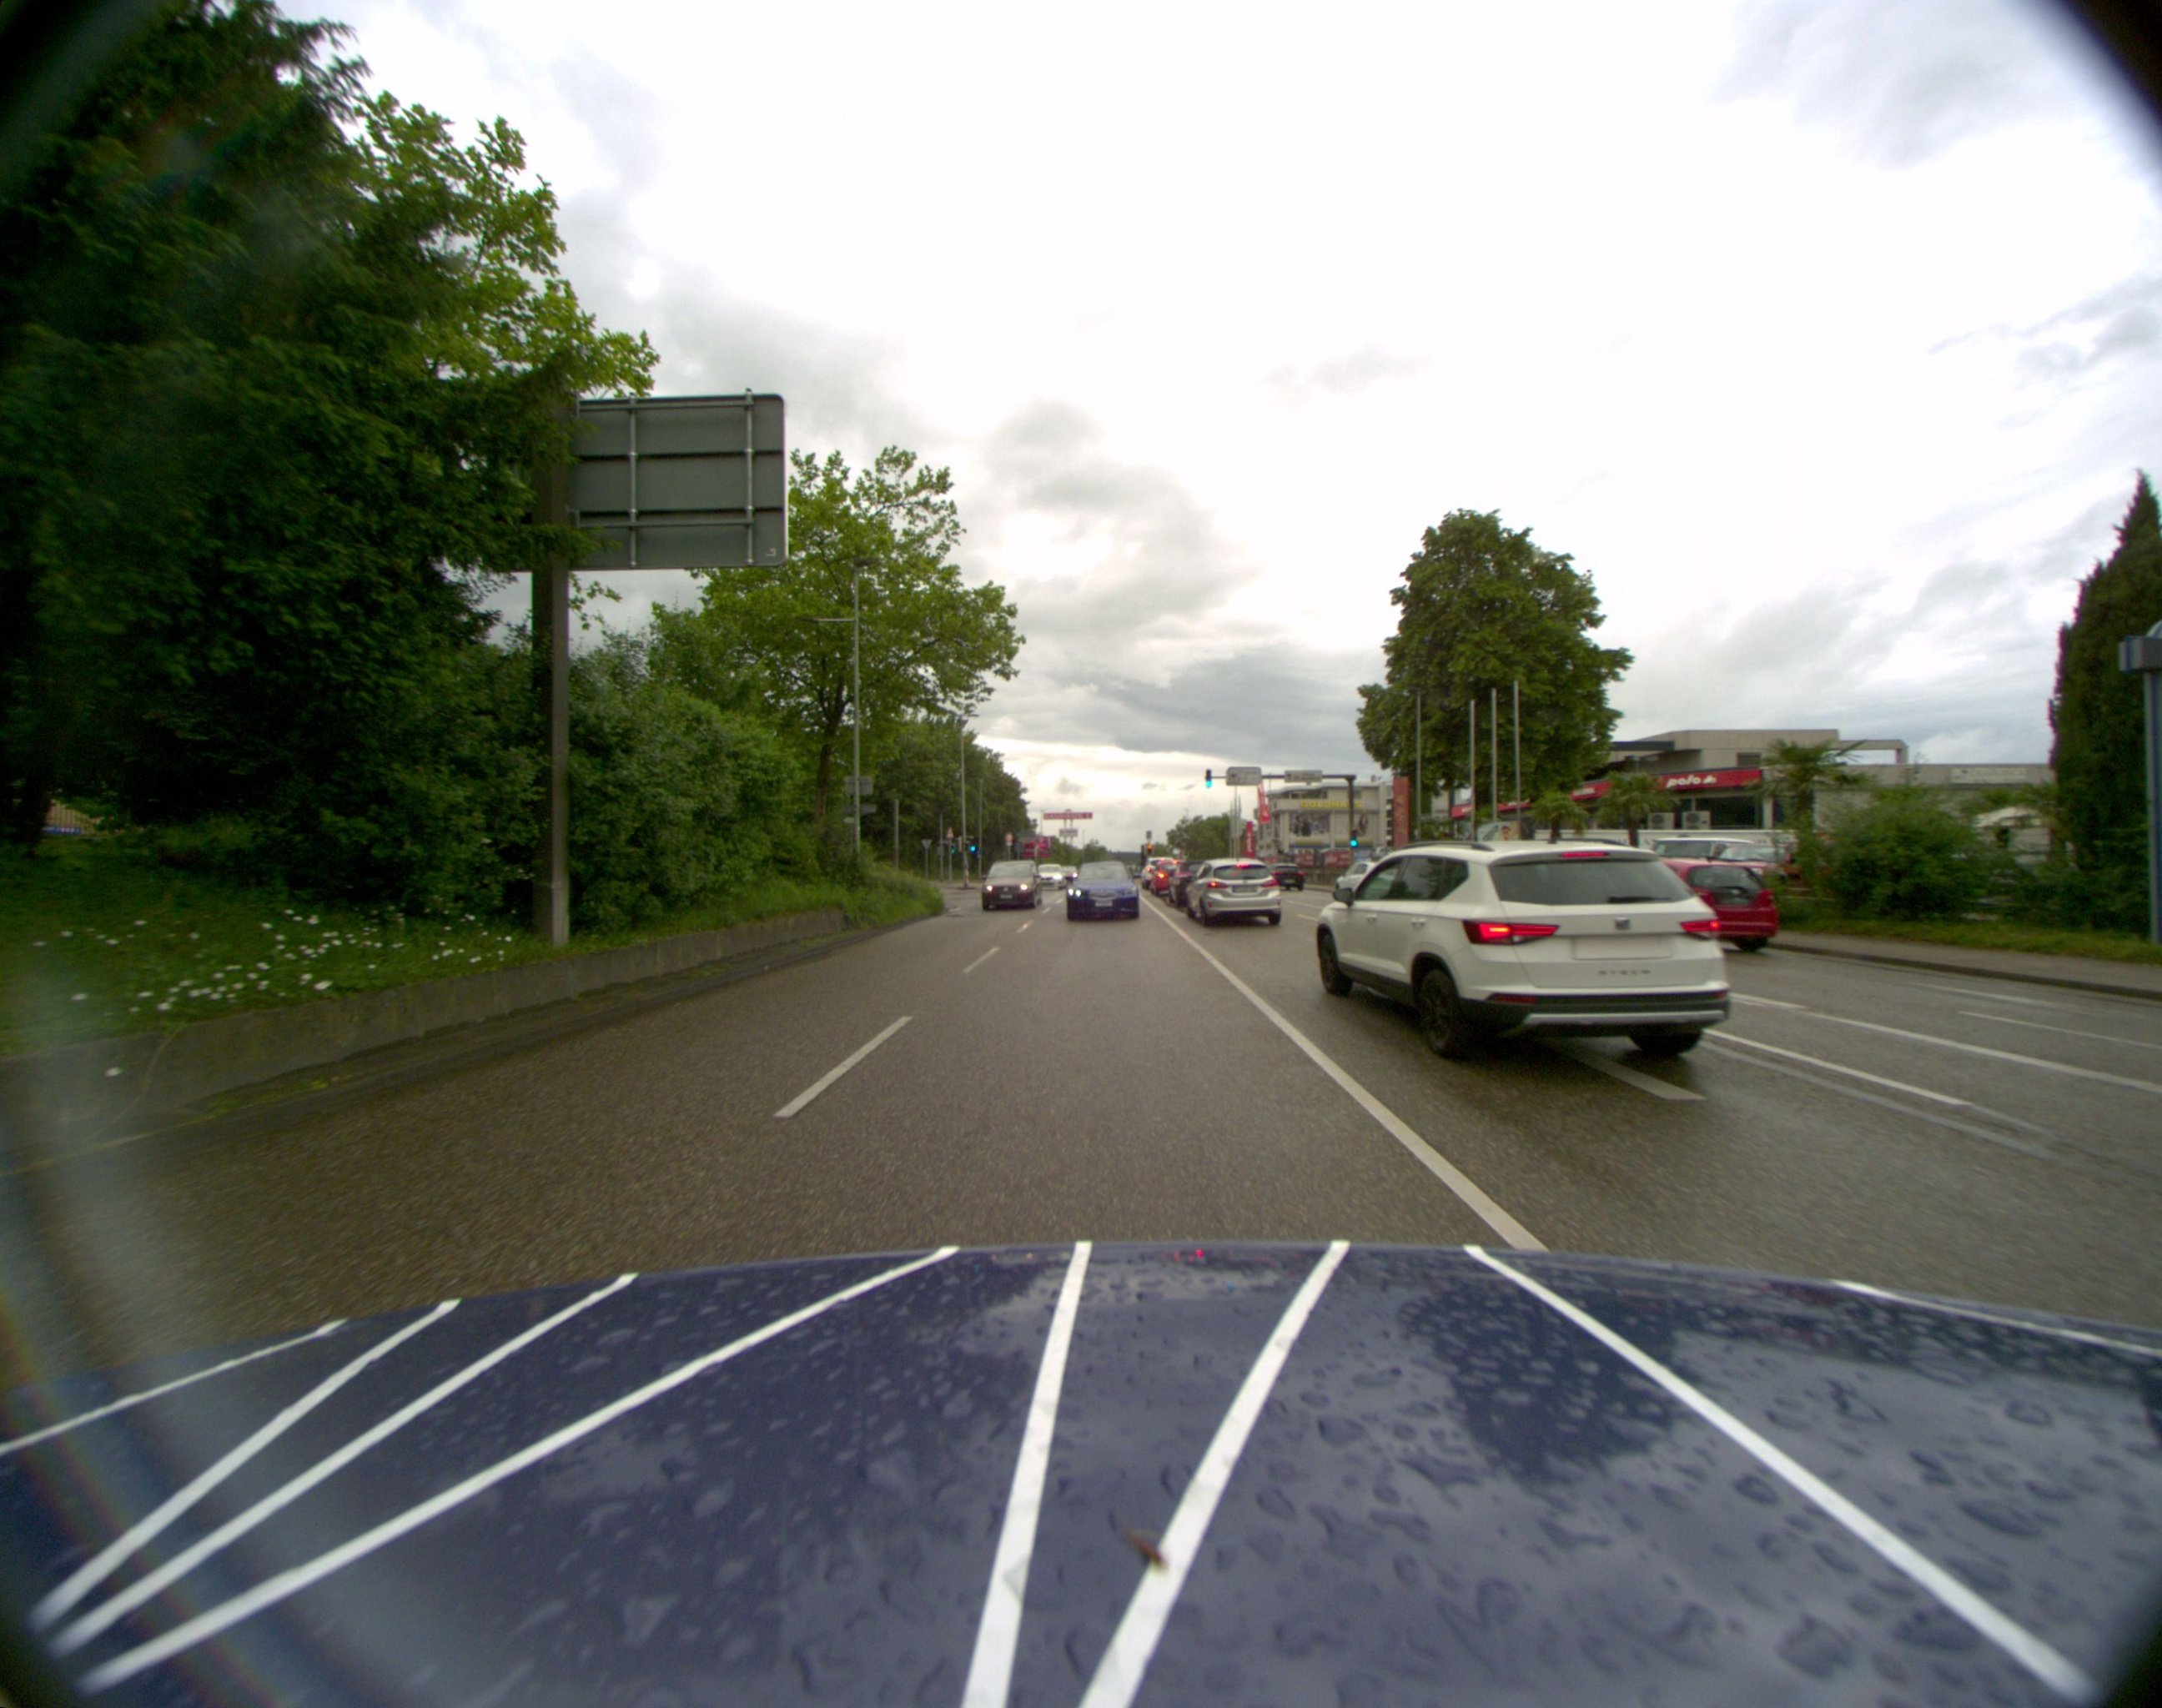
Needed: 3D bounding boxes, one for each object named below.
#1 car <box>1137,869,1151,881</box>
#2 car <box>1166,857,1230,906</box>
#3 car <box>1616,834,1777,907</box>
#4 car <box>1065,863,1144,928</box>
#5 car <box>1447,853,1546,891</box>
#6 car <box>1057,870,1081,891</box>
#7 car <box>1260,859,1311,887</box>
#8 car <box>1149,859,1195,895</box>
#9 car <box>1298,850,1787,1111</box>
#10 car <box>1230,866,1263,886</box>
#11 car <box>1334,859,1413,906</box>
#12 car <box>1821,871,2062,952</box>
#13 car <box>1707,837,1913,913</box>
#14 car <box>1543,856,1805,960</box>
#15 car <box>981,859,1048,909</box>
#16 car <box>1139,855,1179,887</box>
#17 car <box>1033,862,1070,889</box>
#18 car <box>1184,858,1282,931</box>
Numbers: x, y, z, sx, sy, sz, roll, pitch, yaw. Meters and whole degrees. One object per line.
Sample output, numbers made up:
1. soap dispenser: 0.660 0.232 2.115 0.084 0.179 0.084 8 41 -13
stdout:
1. car: 9.127 3.006 110.959 1.844 1.639 4.298 1 -1 2
2. car: 3.755 0.862 24.986 1.605 1.432 3.950 -1 -1 2
3. car: 18.389 0.510 22.700 4.406 2.001 1.996 2 -1 -25
4. car: 0.595 0.982 19.677 1.784 1.448 4.598 -1 -1 1
5. car: 17.699 0.719 32.403 3.608 1.495 1.669 1 1 31
6. car: -0.885 1.941 56.461 1.633 1.448 3.539 -1 -1 1
7. car: 10.878 1.014 40.762 1.605 1.391 4.406 1 -1 1
8. car: 3.858 0.941 32.827 1.636 1.425 4.144 0 0 2
9. car: 3.424 0.764 6.755 1.791 1.572 4.239 -1 0 0
10. car: 11.667 1.530 53.748 1.626 1.324 3.947 1 -1 2
11. car: 9.944 0.908 26.118 1.640 1.469 4.047 0 0 7
12. car: 18.424 1.182 16.281 4.373 1.456 1.995 2 2 -22
13. car: 18.414 0.515 19.170 5.020 1.693 1.995 2 2 -25
14. car: 10.264 0.836 13.601 1.641 1.524 3.972 1 0 2
15. car: -2.230 0.992 26.396 1.751 1.599 3.982 -1 -1 3
16. car: 4.185 0.897 41.331 1.844 1.639 4.298 0 -1 2
17. car: -1.657 1.219 44.093 1.784 1.448 4.681 -1 -1 1
18. car: 3.432 0.853 17.793 1.605 1.433 3.949 -1 0 2
